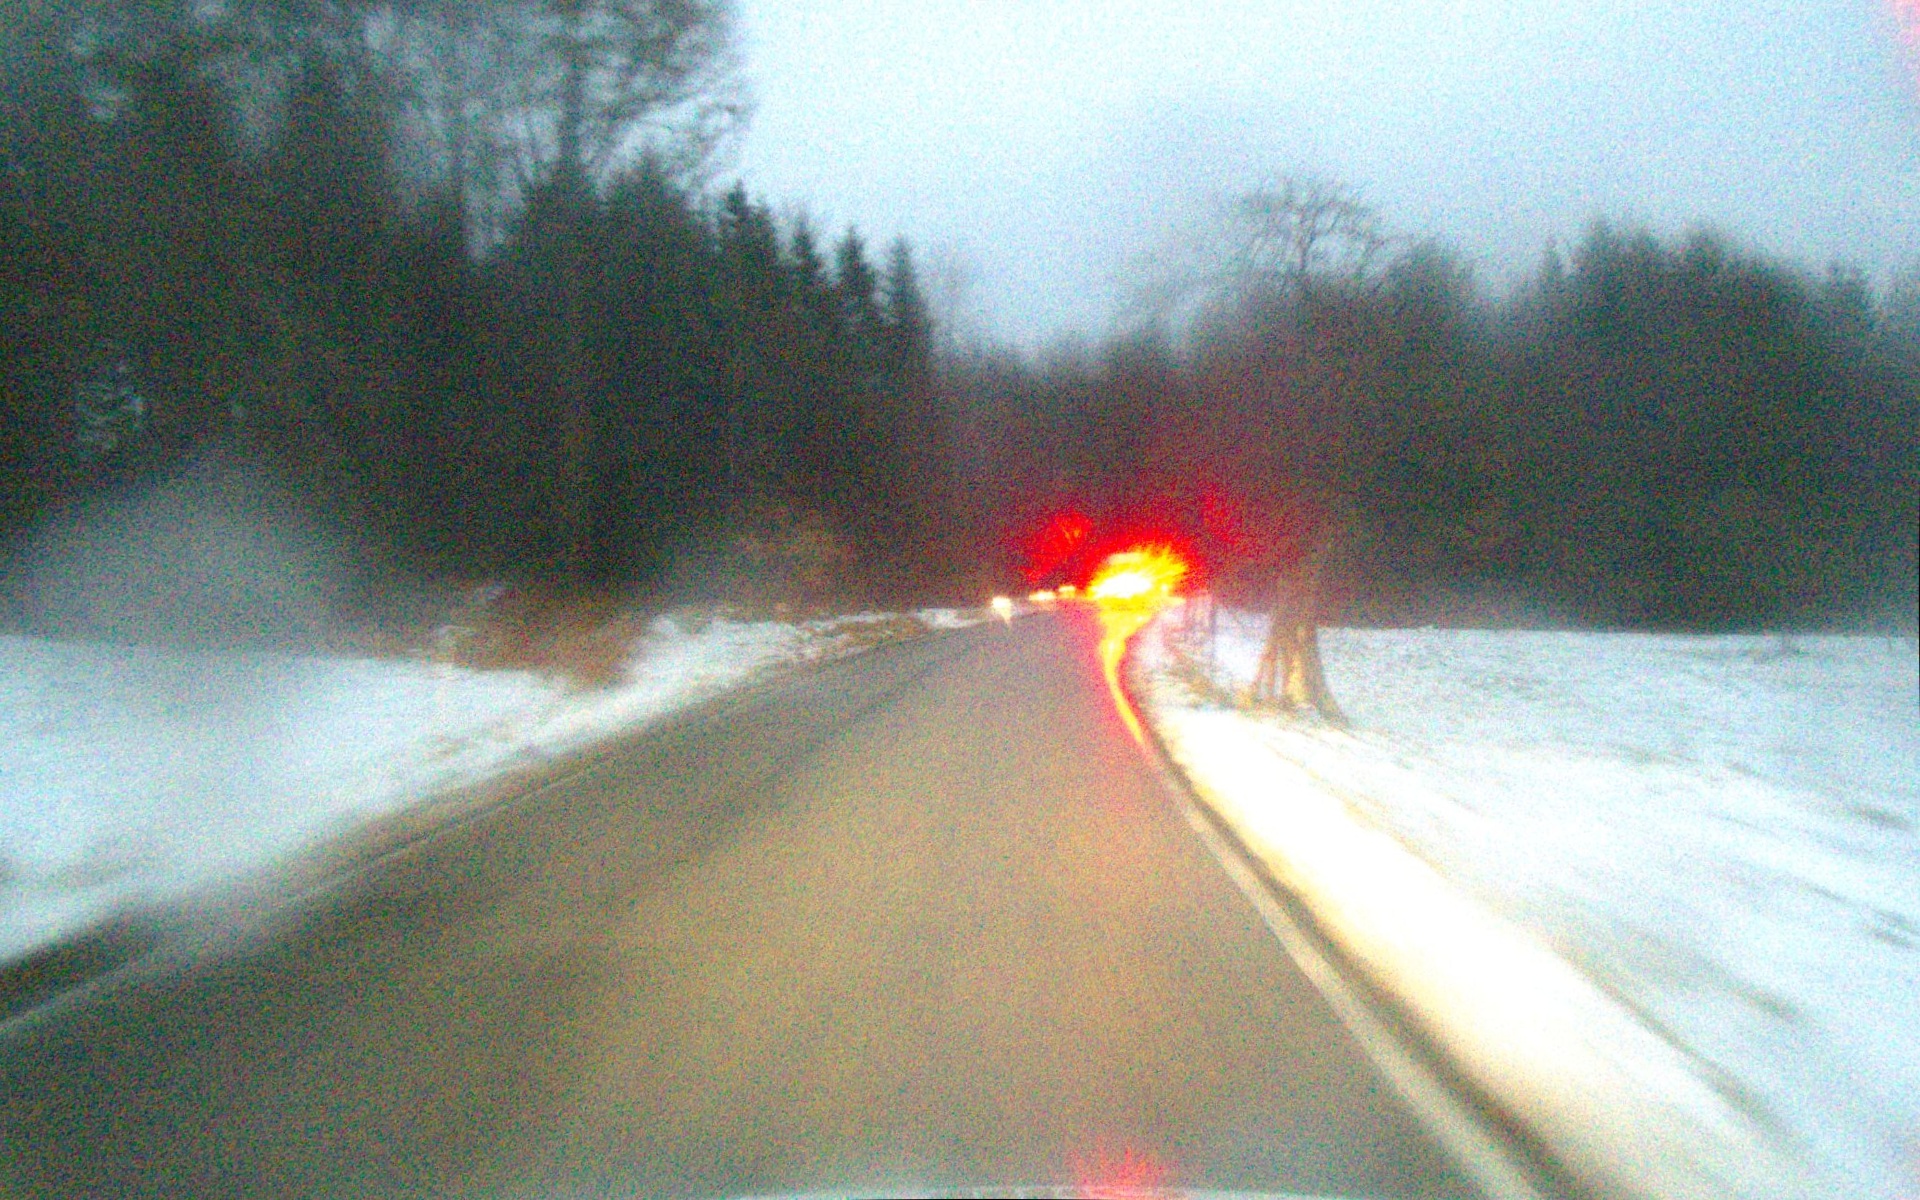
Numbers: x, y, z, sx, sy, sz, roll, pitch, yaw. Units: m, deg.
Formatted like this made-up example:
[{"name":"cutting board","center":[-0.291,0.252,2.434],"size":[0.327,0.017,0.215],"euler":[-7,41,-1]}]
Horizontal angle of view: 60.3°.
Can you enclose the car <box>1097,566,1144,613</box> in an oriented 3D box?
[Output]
[{"name":"car","center":[7.358,-0.497,75.989],"size":[1.952,2.087,4.002],"euler":[1,1,3]}]

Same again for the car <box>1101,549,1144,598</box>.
[{"name":"car","center":[9.299,-1.490,95.045],"size":[2.205,2.691,5.008],"euler":[-1,0,3]}]
